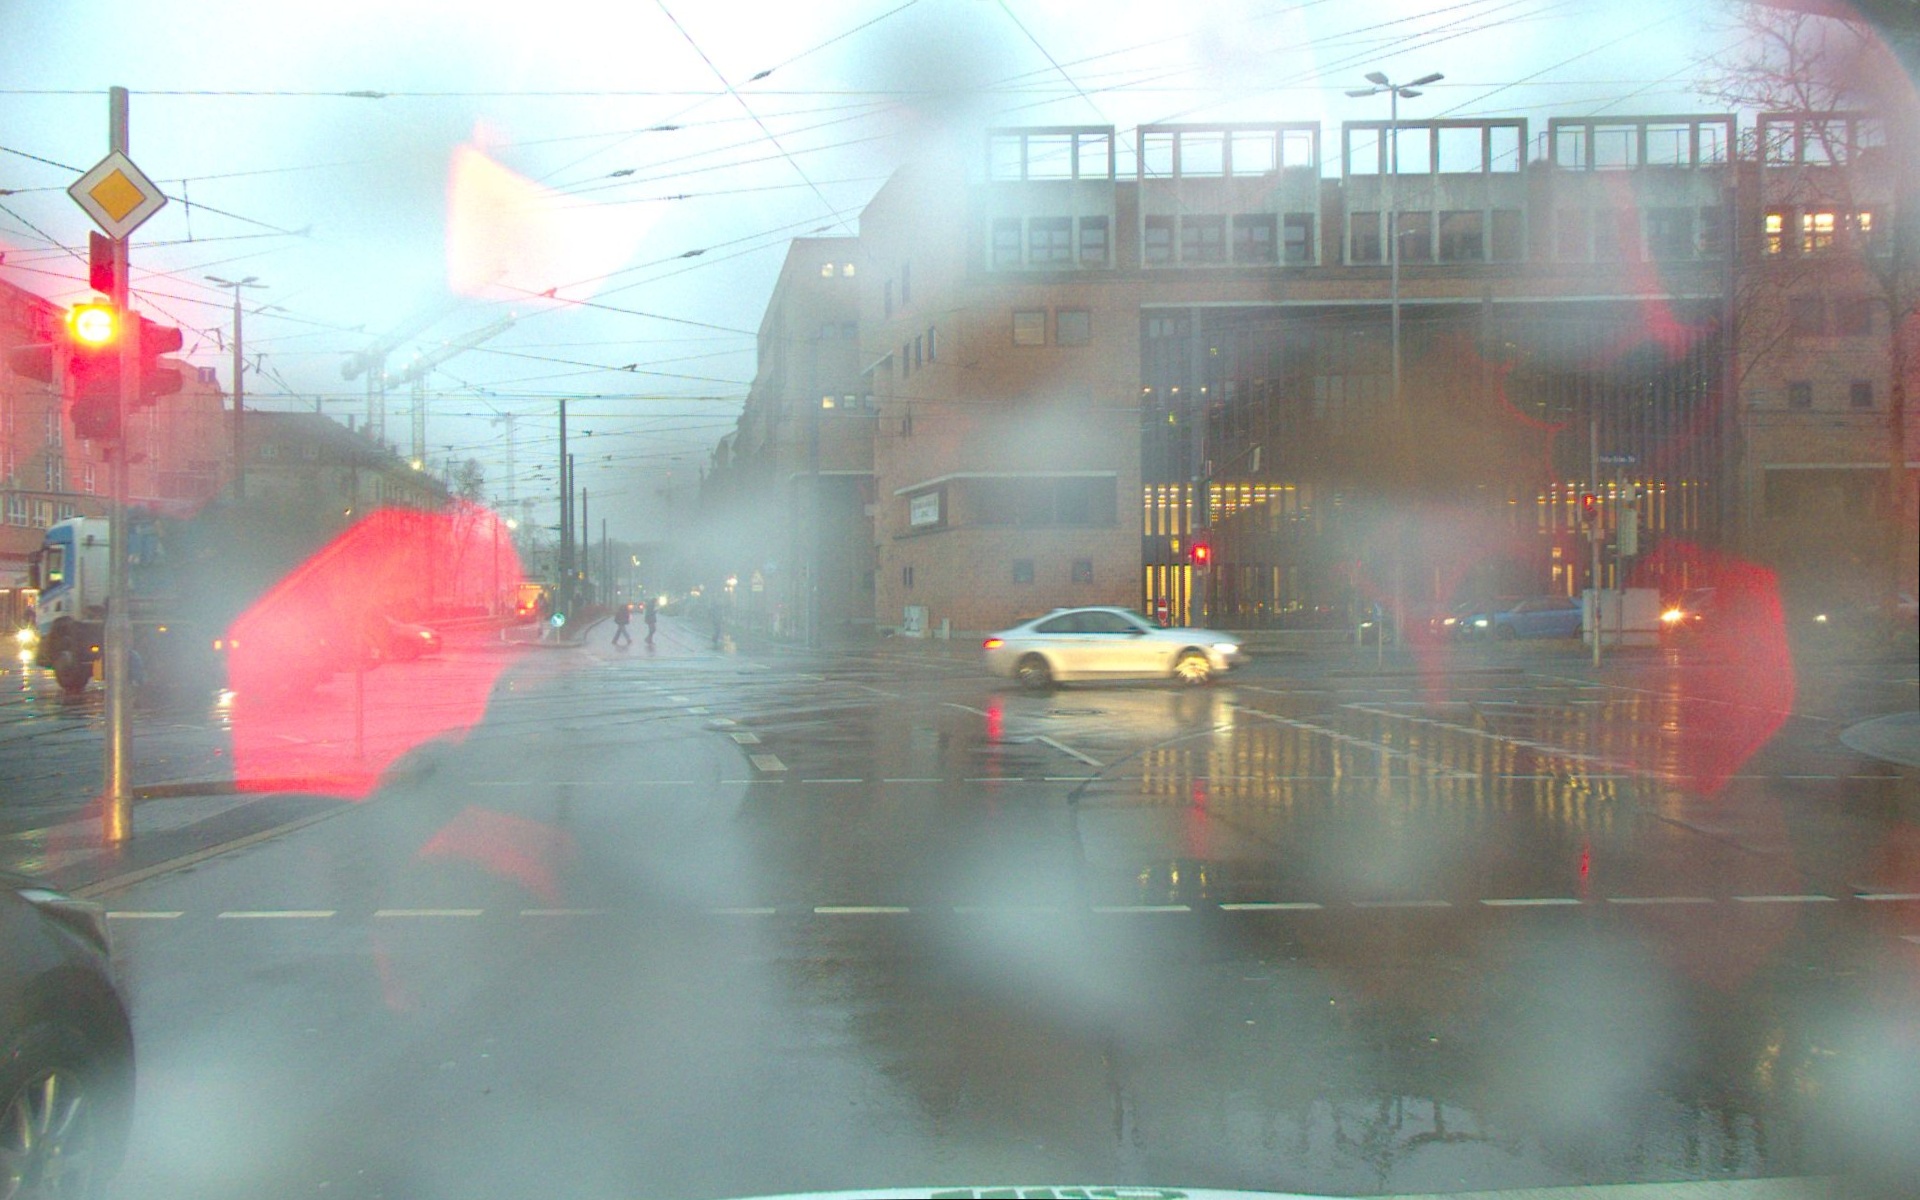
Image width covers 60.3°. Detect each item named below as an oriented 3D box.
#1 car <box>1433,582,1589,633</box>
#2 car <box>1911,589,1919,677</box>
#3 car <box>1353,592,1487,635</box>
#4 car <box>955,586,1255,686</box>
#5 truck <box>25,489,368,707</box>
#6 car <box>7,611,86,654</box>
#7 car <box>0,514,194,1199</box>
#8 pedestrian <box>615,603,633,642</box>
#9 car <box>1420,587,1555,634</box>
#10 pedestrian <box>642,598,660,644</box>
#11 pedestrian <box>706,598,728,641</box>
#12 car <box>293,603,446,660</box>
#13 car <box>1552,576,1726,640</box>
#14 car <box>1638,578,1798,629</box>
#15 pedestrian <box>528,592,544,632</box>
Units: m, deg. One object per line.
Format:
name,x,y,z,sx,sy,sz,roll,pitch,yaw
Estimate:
car,15.972,0.207,48.040,3.910,1.284,1.846,-1,4,-7
car,19.910,0.563,29.691,4.730,1.588,2.046,-1,0,-10
car,15.533,0.448,55.947,3.909,1.333,1.998,-1,0,-5
car,2.579,0.612,29.043,4.882,1.635,2.255,-1,0,17
truck,-14.593,-0.022,31.351,7.380,3.697,2.836,-1,0,38
car,-38.542,1.335,69.883,1.960,1.700,3.984,-1,0,-15
car,-2.613,0.641,1.900,1.596,1.550,3.942,-1,1,0
pedestrian,-13.404,0.898,65.930,0.687,1.510,0.574,-1,0,-11
car,16.598,0.315,52.136,3.649,1.284,1.846,-1,4,-7
pedestrian,-11.974,0.808,64.092,0.654,1.755,0.487,-1,0,-11
pedestrian,-9.640,0.766,65.691,0.828,1.717,0.648,-1,0,-11
car,-16.601,0.883,46.660,3.924,1.466,1.706,2,-1,-18
car,18.224,0.204,44.495,3.910,1.530,1.846,-1,4,-7
car,22.343,0.091,48.845,3.910,1.310,1.846,-1,4,-7
pedestrian,-18.595,0.531,72.503,0.681,1.754,0.762,-1,0,-15
